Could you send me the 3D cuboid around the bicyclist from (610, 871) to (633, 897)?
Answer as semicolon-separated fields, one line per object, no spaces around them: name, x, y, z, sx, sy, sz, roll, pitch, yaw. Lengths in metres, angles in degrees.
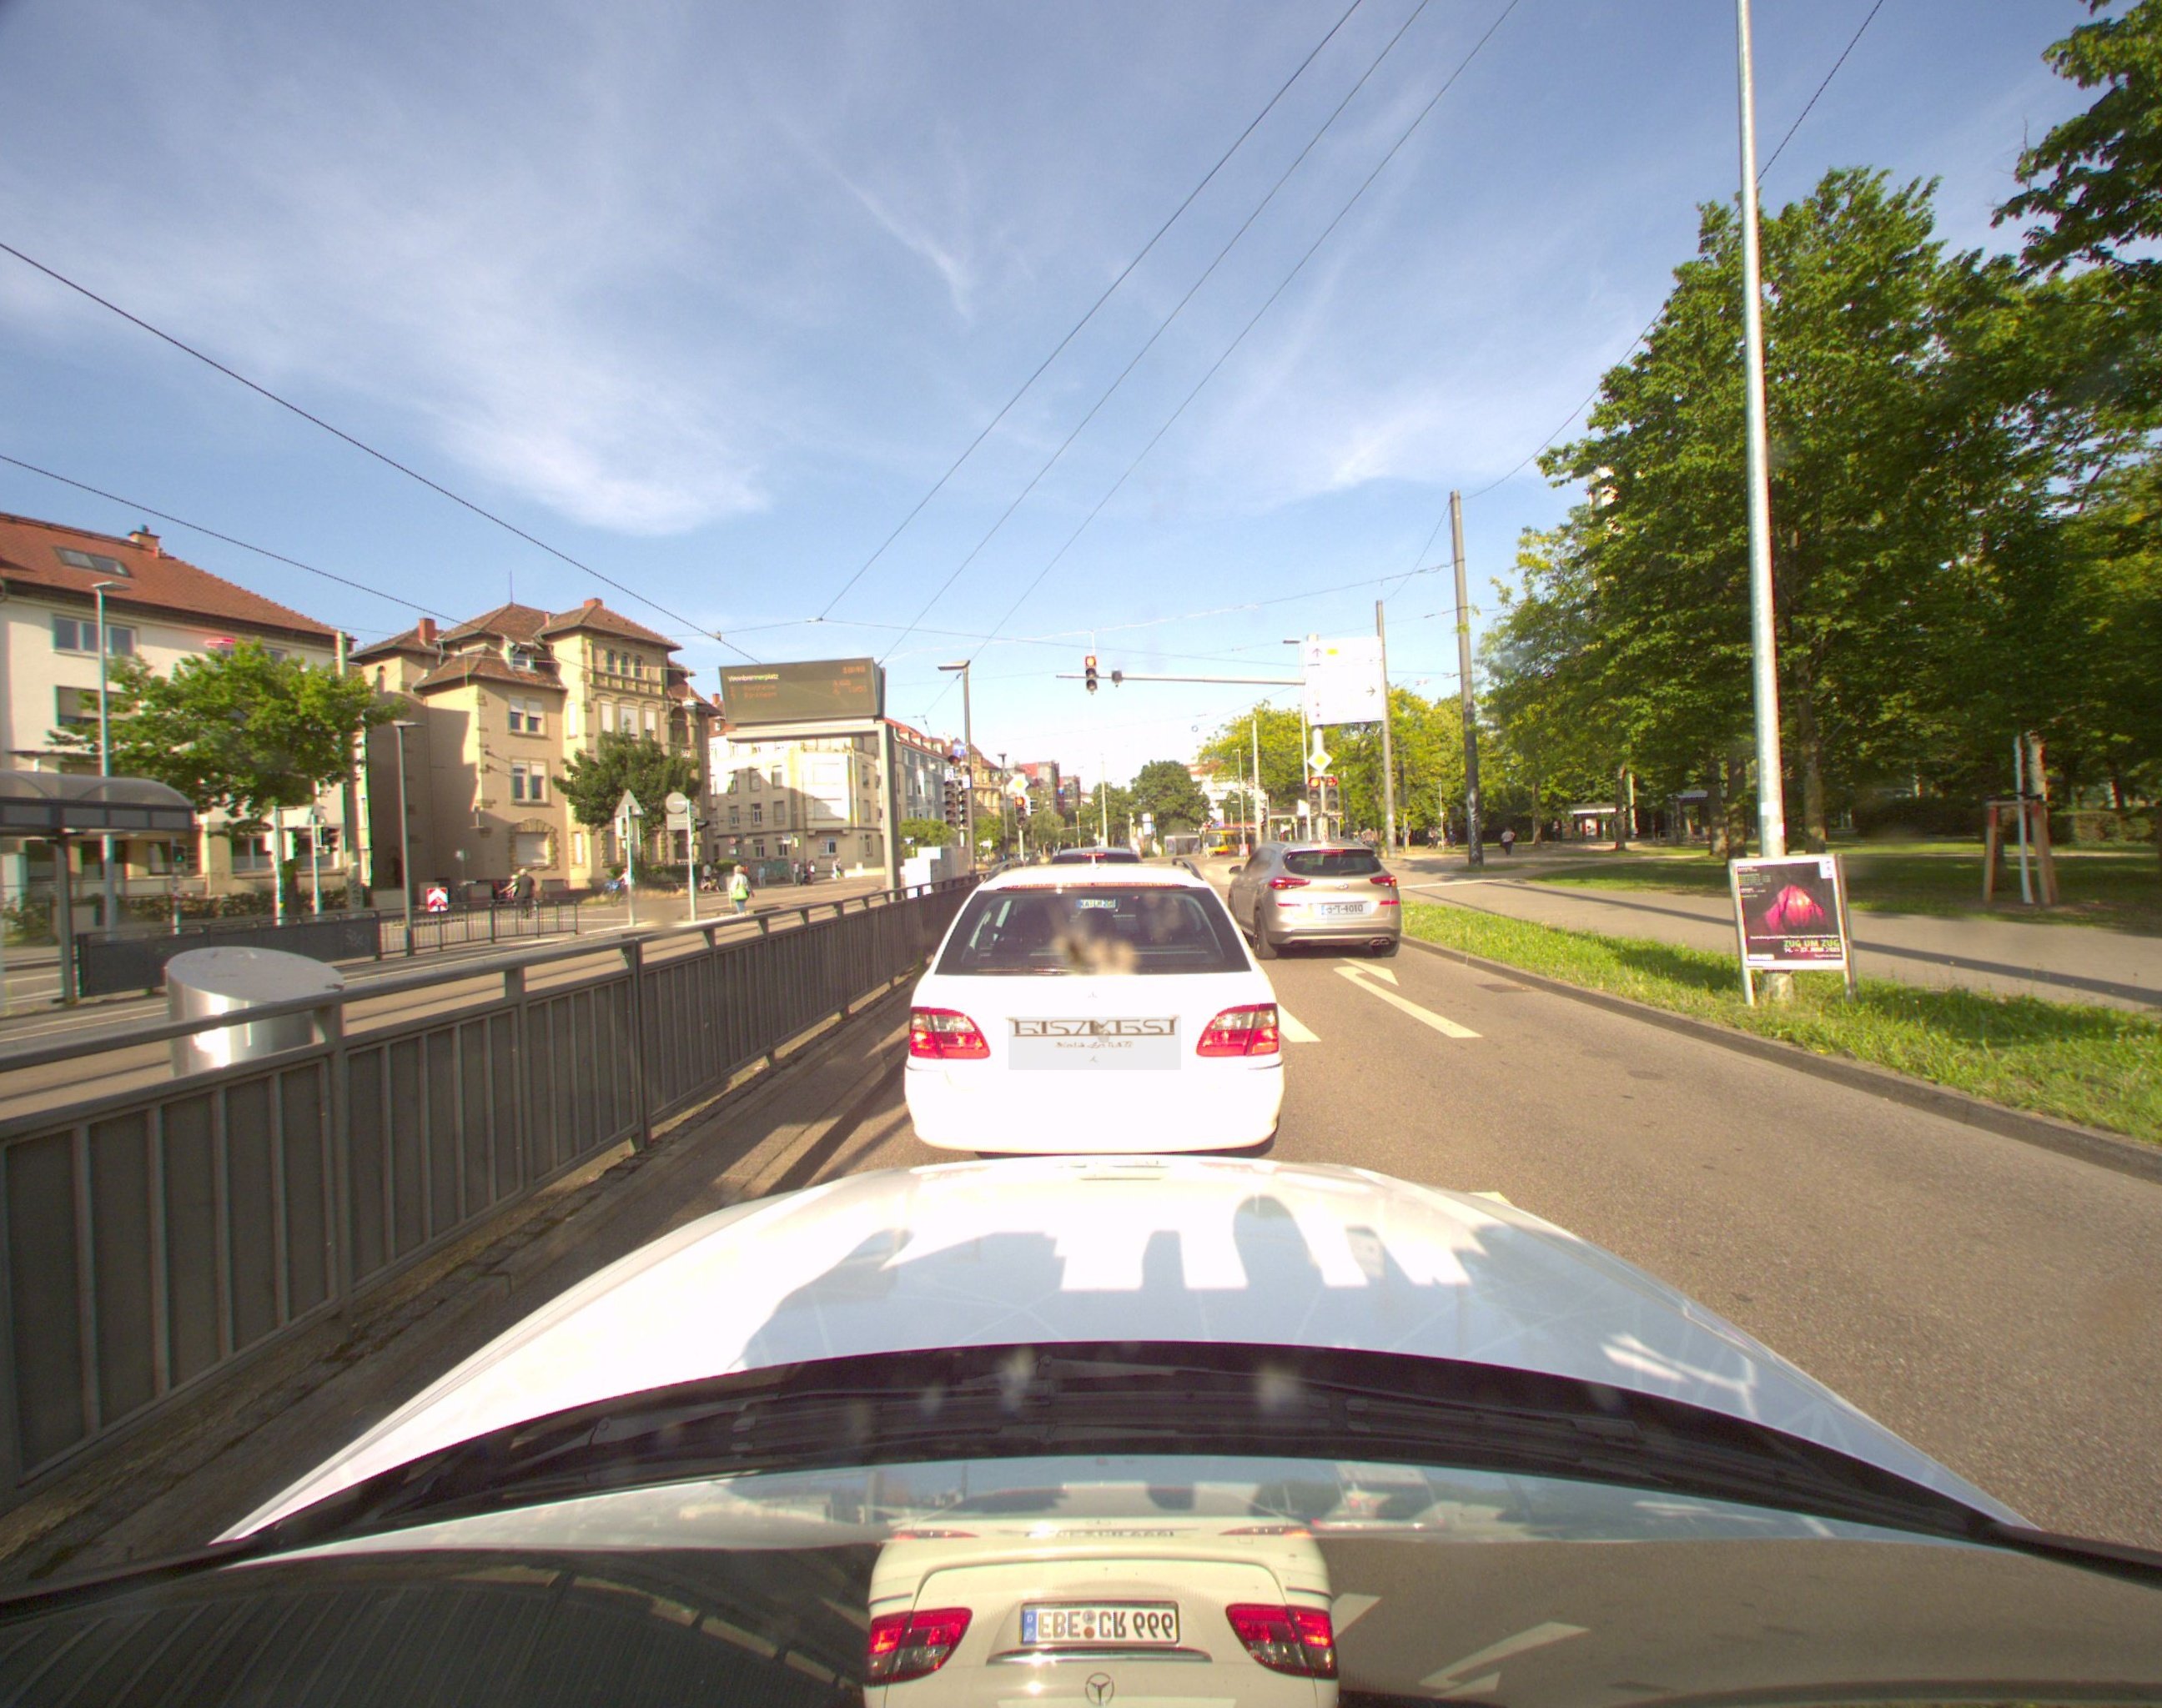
bicyclist;-19.259;1.248;34.105;0.511;1.044;0.680;-3;0;2

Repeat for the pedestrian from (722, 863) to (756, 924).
pedestrian;-9.272;1.056;22.117;0.611;1.599;0.632;-3;0;-5

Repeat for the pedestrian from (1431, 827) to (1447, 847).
pedestrian;28.099;-1.326;63.886;0.813;1.487;0.698;-3;0;-9

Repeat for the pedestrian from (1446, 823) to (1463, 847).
pedestrian;29.115;-1.480;63.507;0.797;1.785;0.838;-3;0;-2

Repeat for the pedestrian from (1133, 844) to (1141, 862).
pedestrian;6.005;-0.089;86.843;0.638;1.857;0.554;-3;0;13

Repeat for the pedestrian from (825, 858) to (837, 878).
pedestrian;-21.501;1.194;70.022;0.615;1.660;0.589;-3;0;17

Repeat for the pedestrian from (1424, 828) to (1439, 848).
pedestrian;27.251;-1.244;63.298;0.820;1.487;0.692;-3;0;-40

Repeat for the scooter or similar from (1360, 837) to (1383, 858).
scooter or similar;16.172;-0.371;45.362;0.421;1.117;1.322;-3;0;-18

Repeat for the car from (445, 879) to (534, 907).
car;-29.457;1.909;40.568;4.066;1.310;1.774;-1;-1;24

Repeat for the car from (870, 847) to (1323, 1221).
car;0.110;0.719;5.096;1.789;1.470;3.649;-1;0;1

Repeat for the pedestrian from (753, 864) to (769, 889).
pedestrian;-20.796;1.468;52.906;0.626;1.541;0.711;-3;0;1

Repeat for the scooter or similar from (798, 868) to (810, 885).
scooter or similar;-18.914;1.536;55.660;0.541;1.079;0.683;-1;-1;1

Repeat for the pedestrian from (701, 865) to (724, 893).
pedestrian;-21.592;1.469;47.739;0.822;1.552;0.786;-3;0;23

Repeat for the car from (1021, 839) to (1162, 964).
car;0.203;0.624;12.676;1.878;1.651;3.649;0;0;2

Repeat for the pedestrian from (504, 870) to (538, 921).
pedestrian;-18.899;1.379;27.465;0.798;1.645;0.748;-3;0;-42

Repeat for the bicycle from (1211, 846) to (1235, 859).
bicycle;14.739;-0.144;84.589;2.467;1.213;0.809;-3;0;9

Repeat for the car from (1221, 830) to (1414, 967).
car;3.334;0.566;12.219;1.878;1.651;3.649;-3;0;2

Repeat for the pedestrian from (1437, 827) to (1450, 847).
pedestrian;27.764;-1.306;62.382;0.805;1.487;0.705;-3;0;26

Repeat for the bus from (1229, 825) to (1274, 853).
bus;23.706;-2.001;112.307;3.080;3.606;12.664;-1;-1;26

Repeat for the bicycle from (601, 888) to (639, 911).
bicycle;-19.245;1.872;34.010;0.524;0.834;1.687;-3;0;2

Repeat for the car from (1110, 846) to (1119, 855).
car;7.344;-0.735;178.843;1.986;2.014;4.001;-1;0;2

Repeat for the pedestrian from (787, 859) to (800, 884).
pedestrian;-19.383;1.182;54.910;0.506;1.626;0.609;-3;0;3

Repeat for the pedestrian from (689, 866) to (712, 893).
pedestrian;-22.484;1.507;48.104;0.822;1.552;0.786;-3;0;23

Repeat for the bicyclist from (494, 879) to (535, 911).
bicyclist;-24.228;1.728;34.844;0.758;1.262;1.178;-3;0;10

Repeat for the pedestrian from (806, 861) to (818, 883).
pedestrian;-18.200;1.211;55.150;0.434;1.500;0.551;-3;0;16

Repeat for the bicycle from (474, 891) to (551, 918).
bicycle;-24.245;2.118;34.817;0.779;0.914;3.006;-3;0;10

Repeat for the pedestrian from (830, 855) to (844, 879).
pedestrian;-21.192;1.142;70.845;0.768;2.013;0.790;-3;0;17

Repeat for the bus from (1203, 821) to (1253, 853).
bus;18.365;-2.006;100.898;3.080;3.606;12.445;-1;-1;25

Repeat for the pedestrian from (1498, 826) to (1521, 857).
pedestrian;23.297;-0.669;44.272;0.758;1.636;0.800;-3;0;-38

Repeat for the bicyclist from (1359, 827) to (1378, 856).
bicyclist;13.040;-0.548;36.909;0.532;1.262;0.869;-3;0;2

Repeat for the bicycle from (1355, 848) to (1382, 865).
bicycle;13.056;0.109;37.067;0.493;0.757;2.169;-4;0;2

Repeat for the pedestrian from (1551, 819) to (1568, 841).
pedestrian;36.742;-1.868;62.514;0.831;1.636;0.804;-3;0;8
